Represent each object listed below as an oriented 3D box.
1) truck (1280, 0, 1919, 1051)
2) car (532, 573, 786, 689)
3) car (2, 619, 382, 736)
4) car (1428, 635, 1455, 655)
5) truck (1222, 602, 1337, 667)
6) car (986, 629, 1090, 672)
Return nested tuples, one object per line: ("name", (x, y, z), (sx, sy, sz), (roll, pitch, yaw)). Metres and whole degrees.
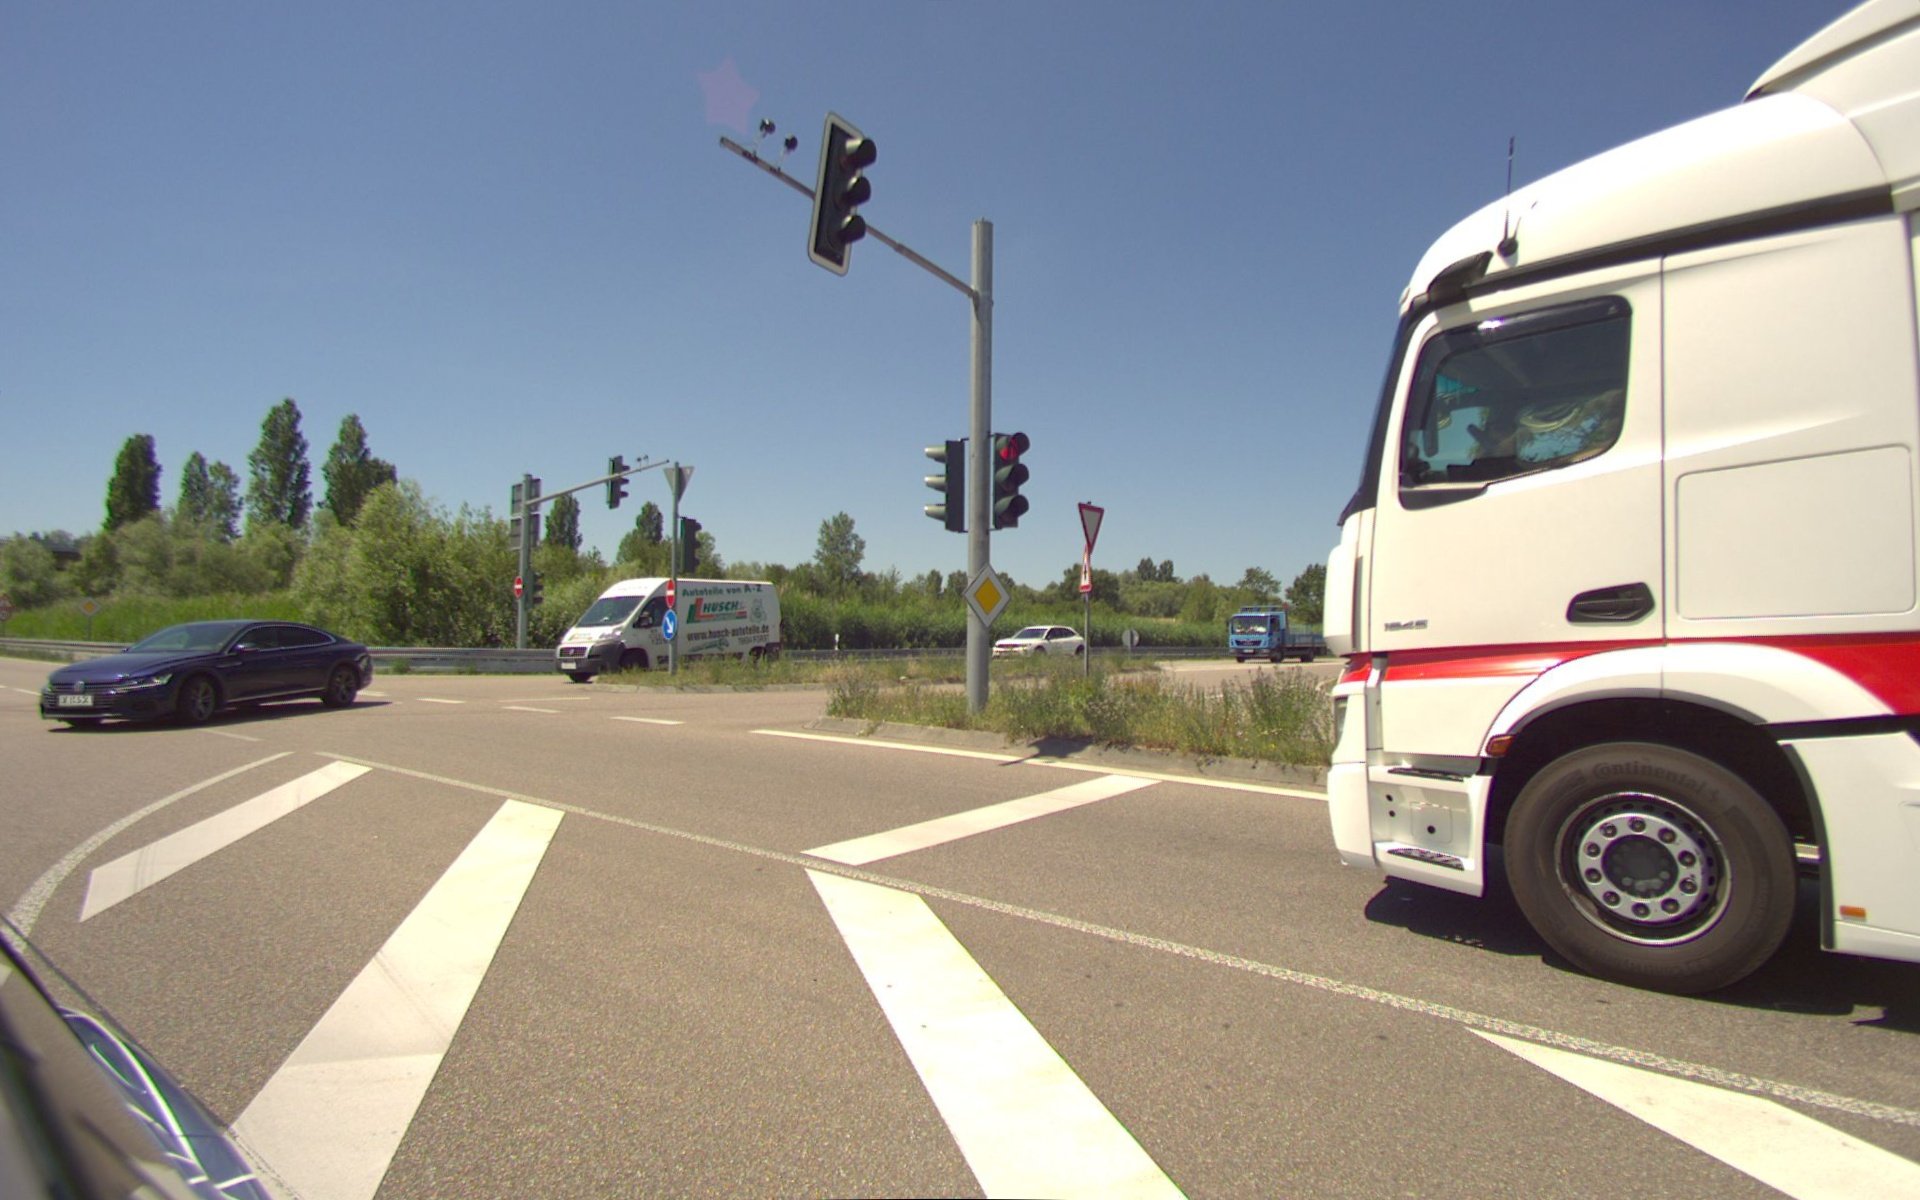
("truck", (4.590, -0.533, 3.947), (5.820, 4.075, 2.662), (-1, -1, 40))
("car", (-7.164, 0.839, 24.871), (2.224, 2.514, 5.913), (-2, -4, 34))
("car", (-10.902, 1.004, 14.896), (1.826, 1.434, 4.553), (0, -1, 6))
("car", (40.622, 3.789, 85.364), (1.583, 1.618, 3.430), (-1, -3, 34))
("truck", (17.368, 1.928, 54.483), (2.693, 3.220, 9.053), (-1, -3, 40))
("car", (2.846, 1.802, 36.128), (1.721, 1.446, 3.905), (-1, -3, 41))
